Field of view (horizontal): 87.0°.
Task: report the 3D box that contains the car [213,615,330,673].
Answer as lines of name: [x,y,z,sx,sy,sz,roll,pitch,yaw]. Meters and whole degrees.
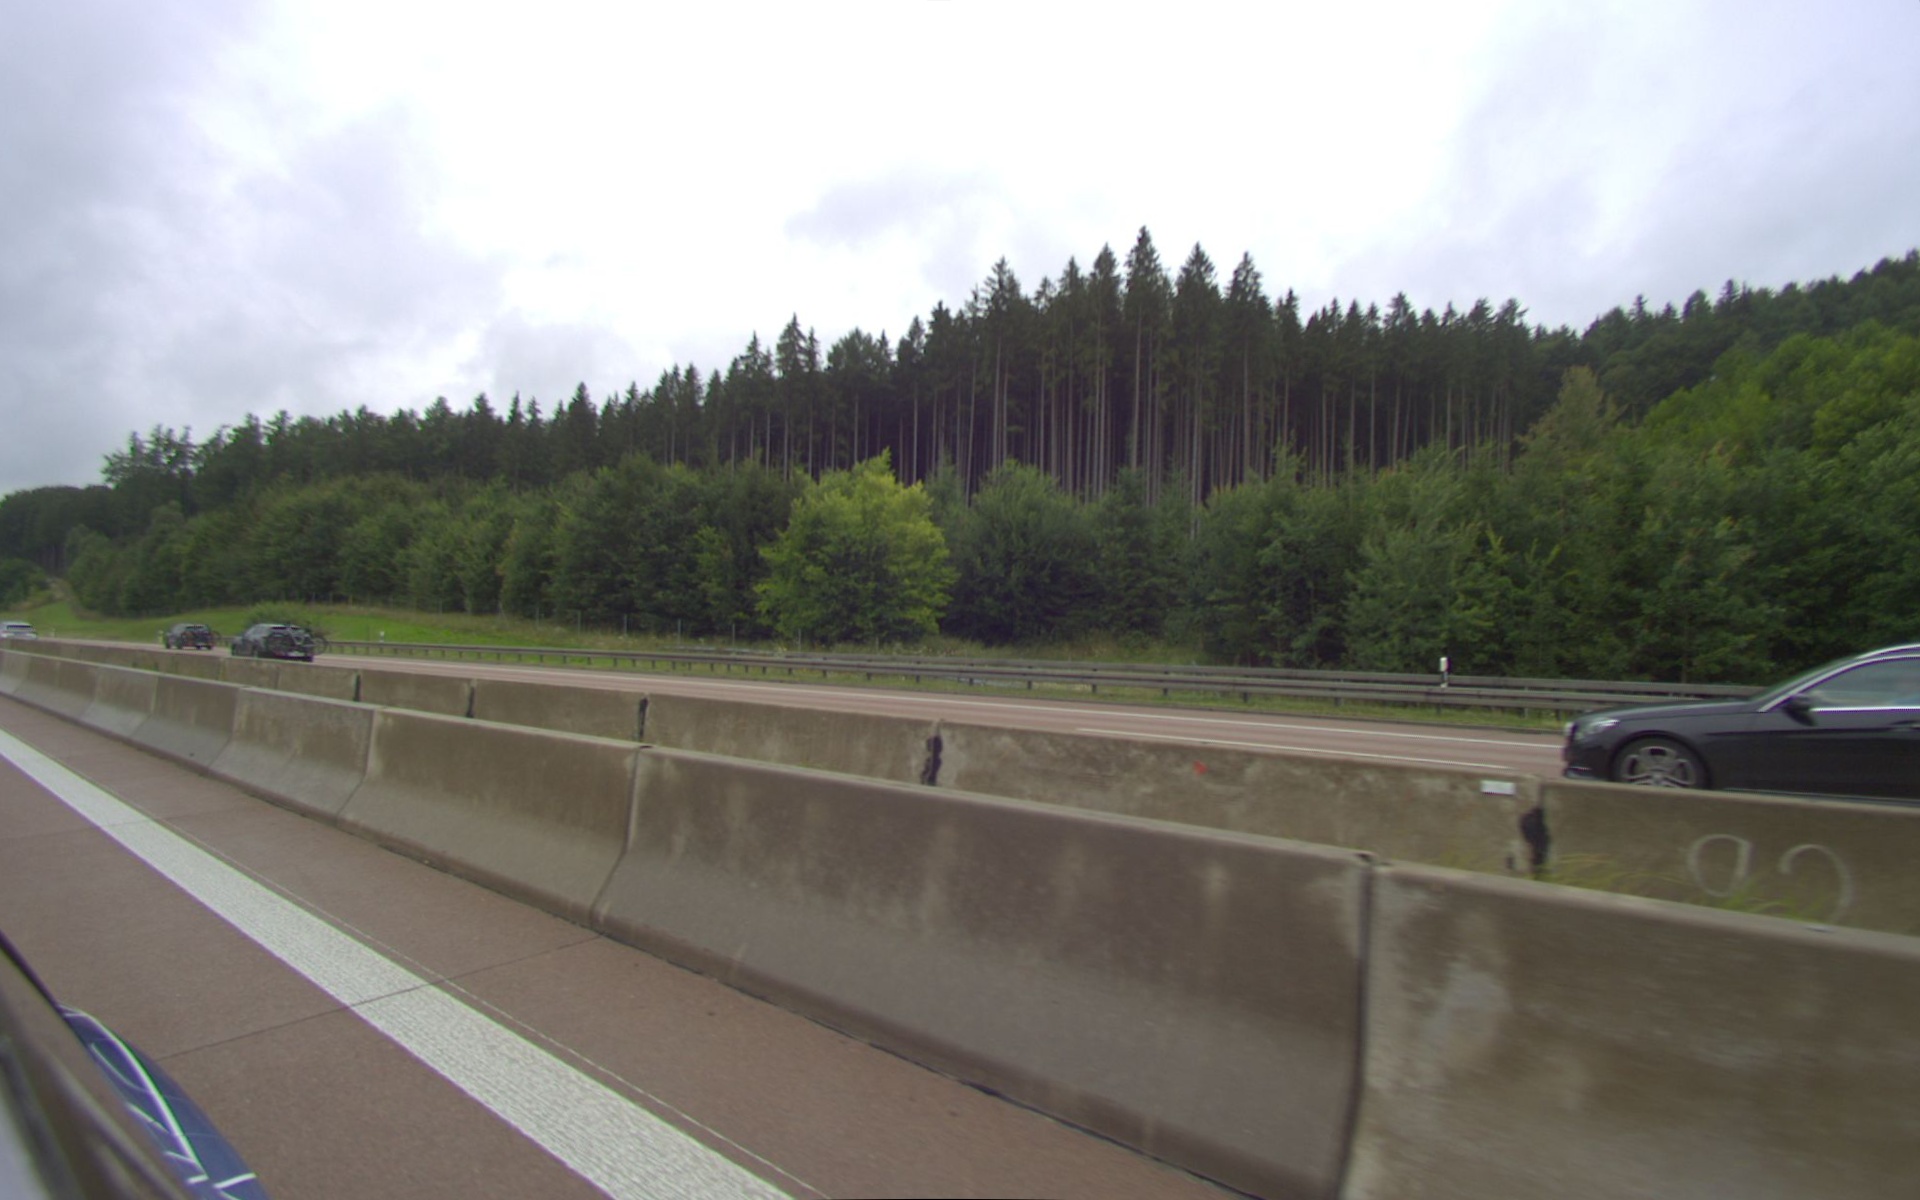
car: [-25.557,1.554,37.465,5.726,1.875,2.257,0,1,41]

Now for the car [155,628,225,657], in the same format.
car: [-47.784,2.609,62.779,5.734,1.572,1.975,0,1,37]

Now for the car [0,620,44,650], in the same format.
car: [-55.197,2.025,59.120,4.944,1.572,1.973,0,1,41]
